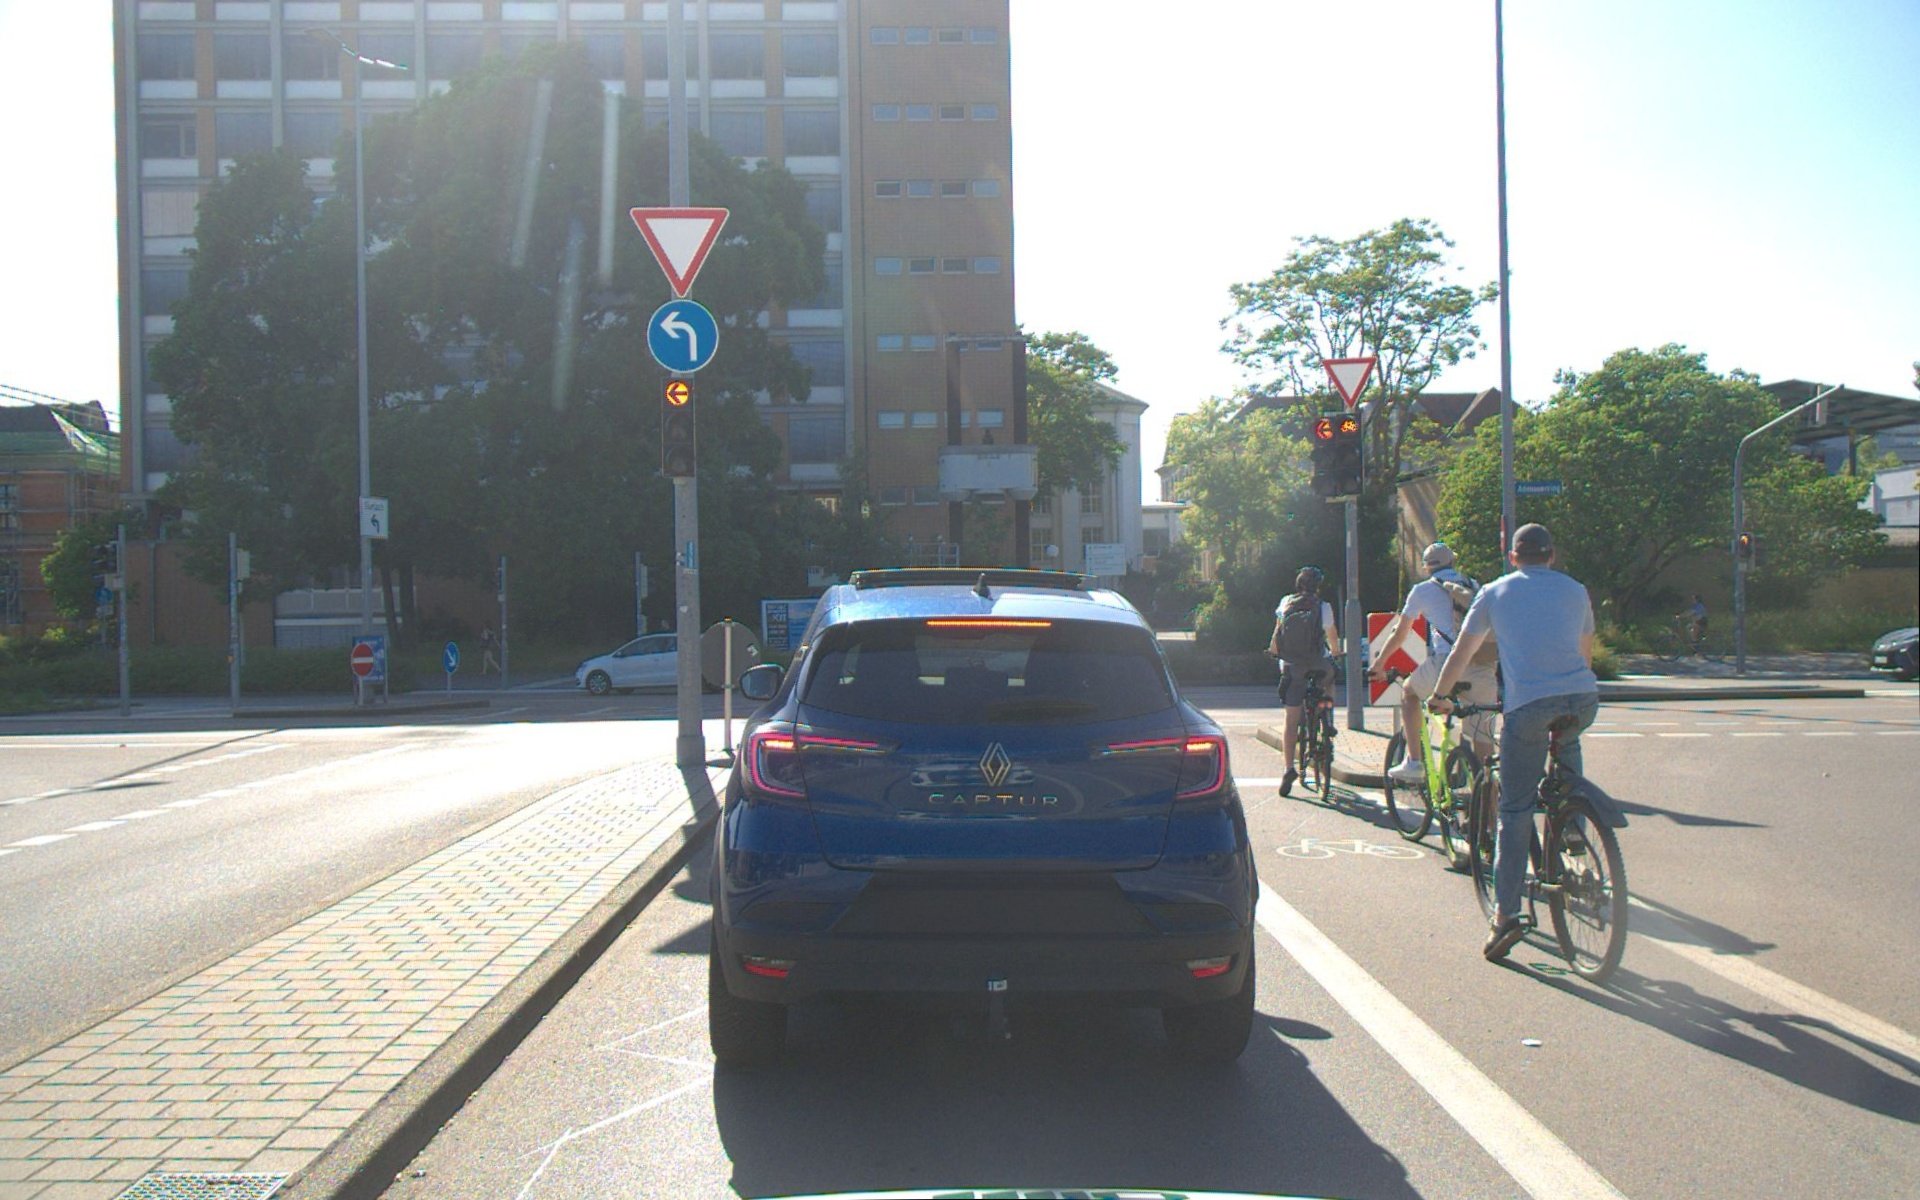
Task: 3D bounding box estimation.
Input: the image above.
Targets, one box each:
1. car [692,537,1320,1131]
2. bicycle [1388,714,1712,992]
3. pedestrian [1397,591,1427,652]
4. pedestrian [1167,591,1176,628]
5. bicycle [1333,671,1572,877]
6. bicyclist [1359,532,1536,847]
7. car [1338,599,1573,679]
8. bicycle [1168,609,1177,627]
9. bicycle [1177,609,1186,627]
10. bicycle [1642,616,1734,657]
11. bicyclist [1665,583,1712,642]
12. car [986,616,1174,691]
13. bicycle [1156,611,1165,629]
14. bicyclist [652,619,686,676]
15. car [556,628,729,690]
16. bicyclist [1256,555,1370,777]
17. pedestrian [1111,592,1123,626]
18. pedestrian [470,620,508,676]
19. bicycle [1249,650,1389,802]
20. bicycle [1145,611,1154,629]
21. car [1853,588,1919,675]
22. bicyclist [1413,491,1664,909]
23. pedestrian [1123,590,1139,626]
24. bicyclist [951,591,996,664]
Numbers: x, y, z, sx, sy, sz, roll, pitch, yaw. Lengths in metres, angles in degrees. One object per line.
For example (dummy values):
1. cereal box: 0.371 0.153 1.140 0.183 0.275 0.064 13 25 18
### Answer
1. car: 0.055 0.666 6.679 1.767 1.660 3.998 1 0 -3
2. bicycle: 2.497 1.029 7.271 0.725 0.911 1.978 1 0 0
3. pedestrian: 12.207 0.582 44.702 0.721 1.631 0.599 -1 0 12
4. pedestrian: 11.819 0.537 92.560 0.465 2.049 0.468 -1 0 5
5. bicycle: 2.865 0.976 9.842 0.646 1.020 1.967 1 0 -6
6. bicyclist: 2.877 0.508 9.838 0.633 1.769 1.065 1 0 -6
7. car: 10.865 0.853 36.535 4.721 1.660 1.845 -1 0 8
8. bicycle: 12.148 1.021 94.565 0.397 0.990 1.684 1 0 3
9. bicycle: 12.672 1.030 94.586 0.397 0.990 1.684 1 0 3
10. bicycle: 18.375 0.925 41.761 2.032 0.981 0.599 -1 0 6
11. bicyclist: 18.377 0.311 41.741 0.916 1.454 0.599 -1 0 7
12. car: 2.494 1.094 34.193 3.755 1.460 1.744 -1 0 6
13. bicycle: 11.396 1.153 94.186 0.397 0.990 1.684 1 0 3
14. bicyclist: -7.678 1.238 43.642 0.728 1.466 0.593 -1 0 -27
15. car: -7.707 1.438 40.275 3.754 1.460 1.744 -1 -2 12
16. bicyclist: 2.754 0.500 12.972 0.711 1.657 0.969 1 0 3
17. pedestrian: 8.714 0.488 91.875 0.599 1.888 0.467 -1 0 5
18. pedestrian: -14.245 1.453 50.068 0.842 1.598 0.560 -4 0 15
19. bicycle: 2.755 0.934 12.921 0.723 1.012 2.174 1 0 3
20. bicycle: 10.787 1.142 94.220 0.397 0.990 1.684 1 0 3
21. car: 20.084 0.574 32.282 4.279 1.660 1.846 -1 0 9
22. bicyclist: 2.504 0.409 7.269 0.736 1.698 1.016 1 0 0
23. pedestrian: 9.155 0.423 88.478 0.616 1.888 0.558 -1 0 -26
24. bicyclist: 0.369 0.730 44.033 1.078 1.900 0.653 -1 -1 10
